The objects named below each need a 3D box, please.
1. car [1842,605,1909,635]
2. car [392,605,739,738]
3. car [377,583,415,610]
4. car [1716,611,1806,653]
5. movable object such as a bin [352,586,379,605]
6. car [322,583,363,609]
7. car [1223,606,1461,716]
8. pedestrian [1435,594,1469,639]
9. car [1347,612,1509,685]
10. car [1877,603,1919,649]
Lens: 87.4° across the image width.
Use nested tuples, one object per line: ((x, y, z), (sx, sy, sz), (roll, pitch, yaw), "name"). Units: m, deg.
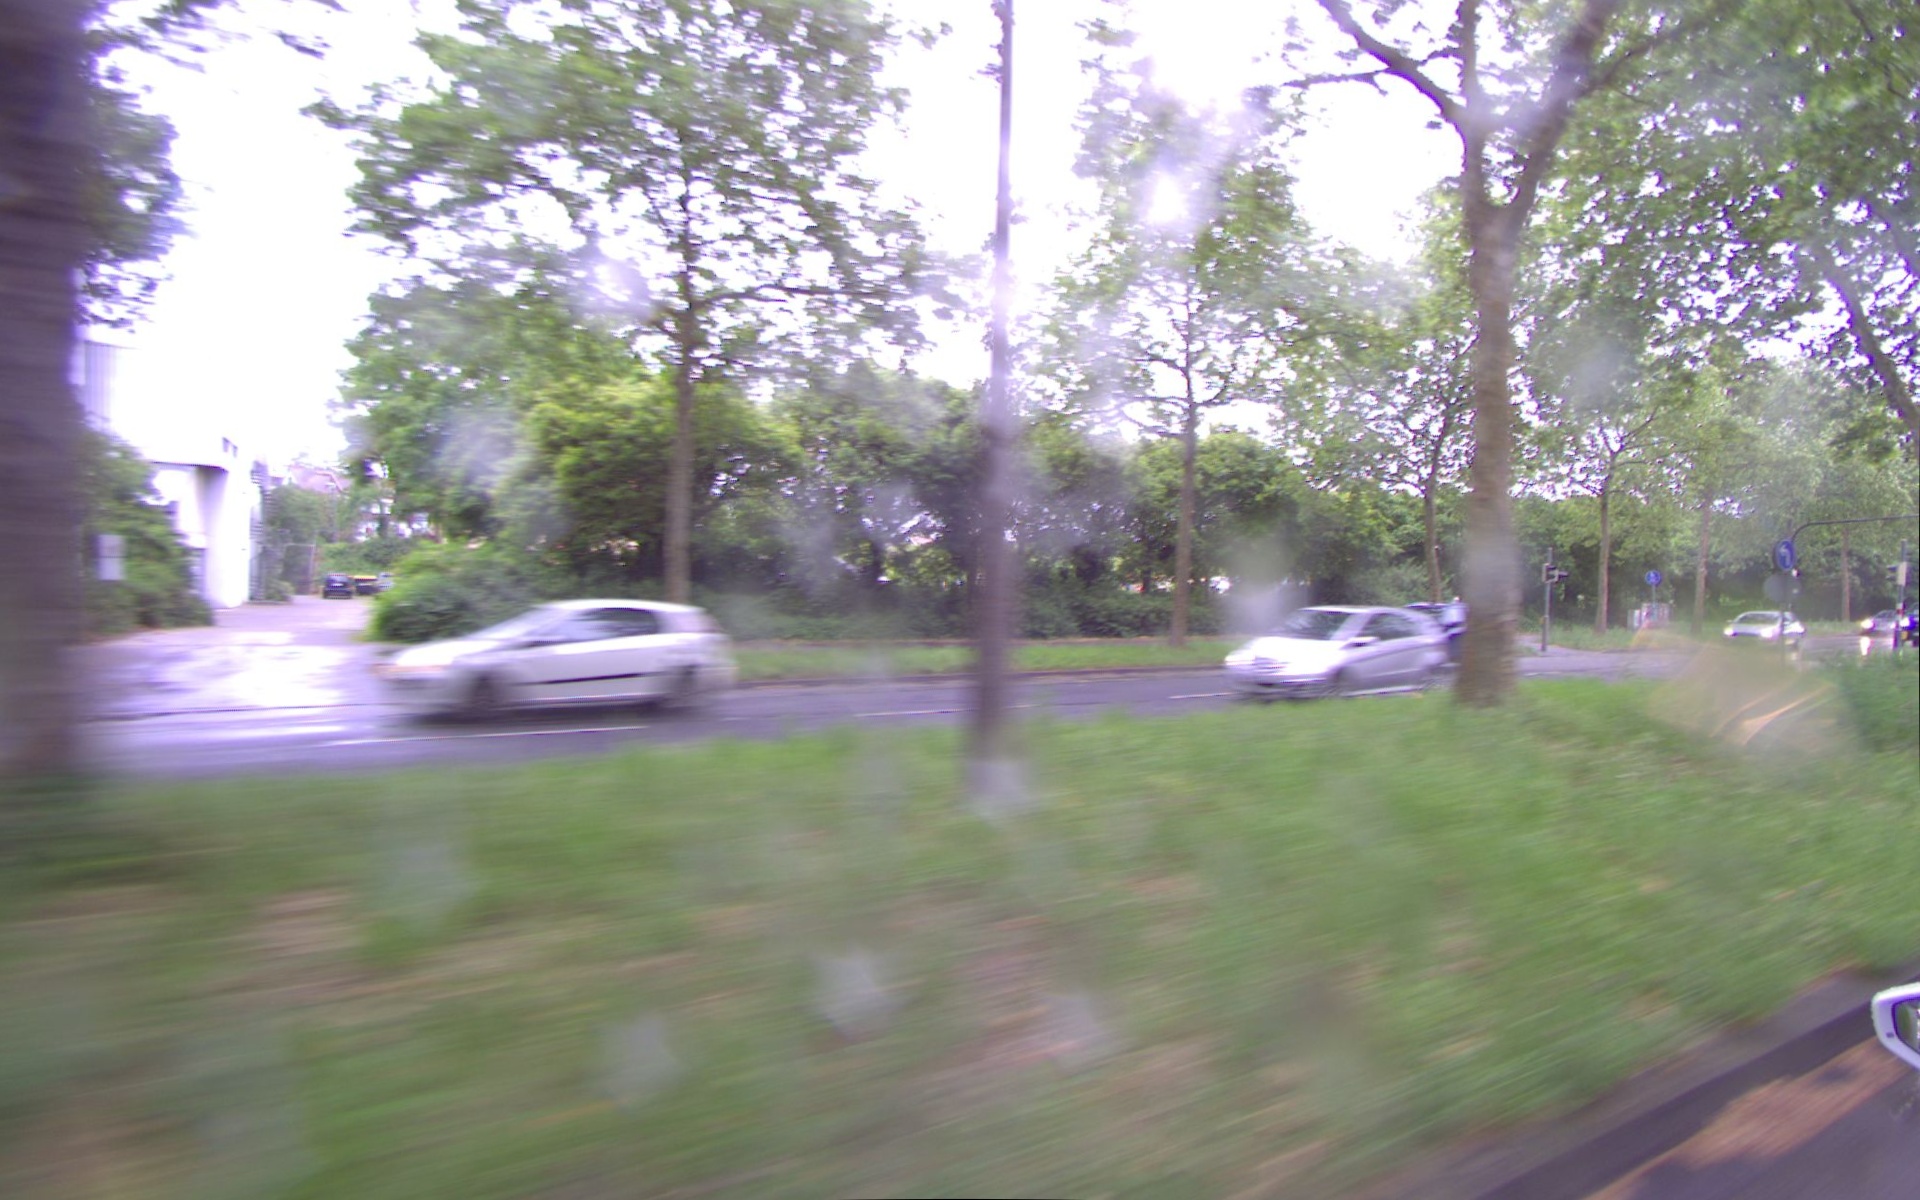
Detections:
((49.029, 1.048, 53.771), (4.191, 1.496, 1.732), (1, 1, -35), "car")
((-5.170, 0.844, 13.308), (4.038, 1.496, 1.733), (1, 1, -33), "car")
((-35.317, -0.247, 62.966), (1.725, 1.587, 4.344), (1, 1, -24), "car")
((31.142, 1.205, 39.001), (4.195, 1.496, 1.731), (1, 1, -37), "car")
((-38.886, -0.298, 65.727), (1.333, 1.224, 1.069), (2, 0, -24), "movable object such as a bin")
((-38.748, -0.285, 63.090), (1.725, 1.587, 3.409), (1, 1, -25), "car")
((6.559, 0.948, 17.072), (4.288, 1.612, 1.731), (1, 1, -36), "car")
((19.108, 0.638, 39.031), (0.891, 1.696, 0.825), (0, 1, -35), "pedestrian")
((11.585, 1.131, 24.801), (4.166, 1.612, 1.732), (1, 1, -34), "car")
((42.028, 1.125, 43.995), (5.071, 1.866, 1.731), (1, 1, -36), "car")
